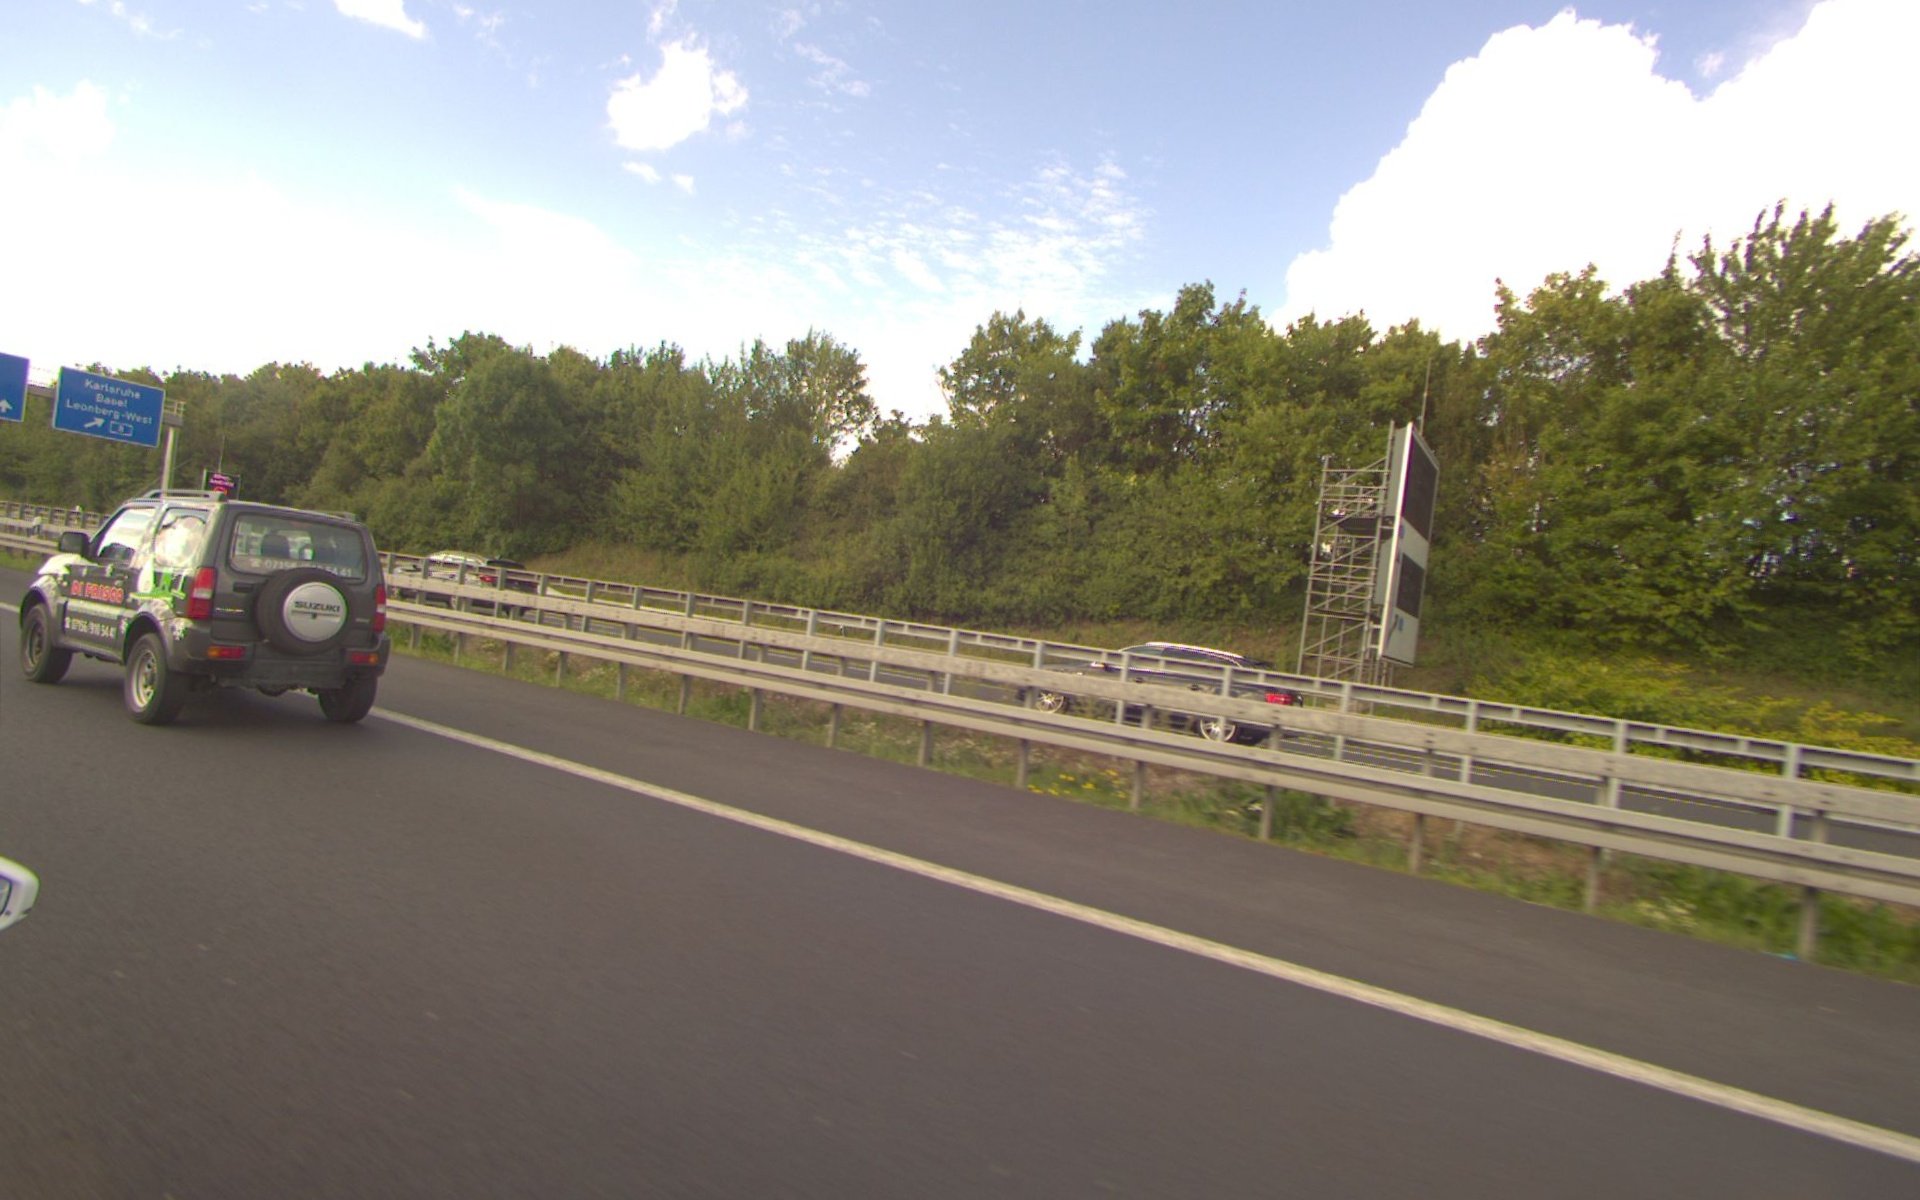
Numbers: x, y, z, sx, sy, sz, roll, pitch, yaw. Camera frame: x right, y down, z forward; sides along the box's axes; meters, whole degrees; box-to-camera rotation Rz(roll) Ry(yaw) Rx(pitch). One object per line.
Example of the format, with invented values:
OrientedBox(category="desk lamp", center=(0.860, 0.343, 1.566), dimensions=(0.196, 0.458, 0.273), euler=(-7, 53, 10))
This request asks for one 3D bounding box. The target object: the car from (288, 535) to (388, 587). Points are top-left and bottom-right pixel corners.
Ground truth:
OrientedBox(category="car", center=(-26.678, -1.673, 43.123), dimensions=(3.934, 1.729, 1.996), euler=(6, 0, 32))

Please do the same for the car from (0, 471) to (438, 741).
OrientedBox(category="car", center=(-6.532, -0.026, 8.634), dimensions=(4.138, 1.753, 1.669), euler=(6, -1, 33))

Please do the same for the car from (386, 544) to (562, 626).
OrientedBox(category="car", center=(-12.164, -0.390, 25.171), dimensions=(3.933, 1.501, 1.998), euler=(6, -2, 30))

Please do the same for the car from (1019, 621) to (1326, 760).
OrientedBox(category="car", center=(3.335, 1.377, 15.940), dimensions=(4.238, 1.501, 1.998), euler=(6, -2, 31))
